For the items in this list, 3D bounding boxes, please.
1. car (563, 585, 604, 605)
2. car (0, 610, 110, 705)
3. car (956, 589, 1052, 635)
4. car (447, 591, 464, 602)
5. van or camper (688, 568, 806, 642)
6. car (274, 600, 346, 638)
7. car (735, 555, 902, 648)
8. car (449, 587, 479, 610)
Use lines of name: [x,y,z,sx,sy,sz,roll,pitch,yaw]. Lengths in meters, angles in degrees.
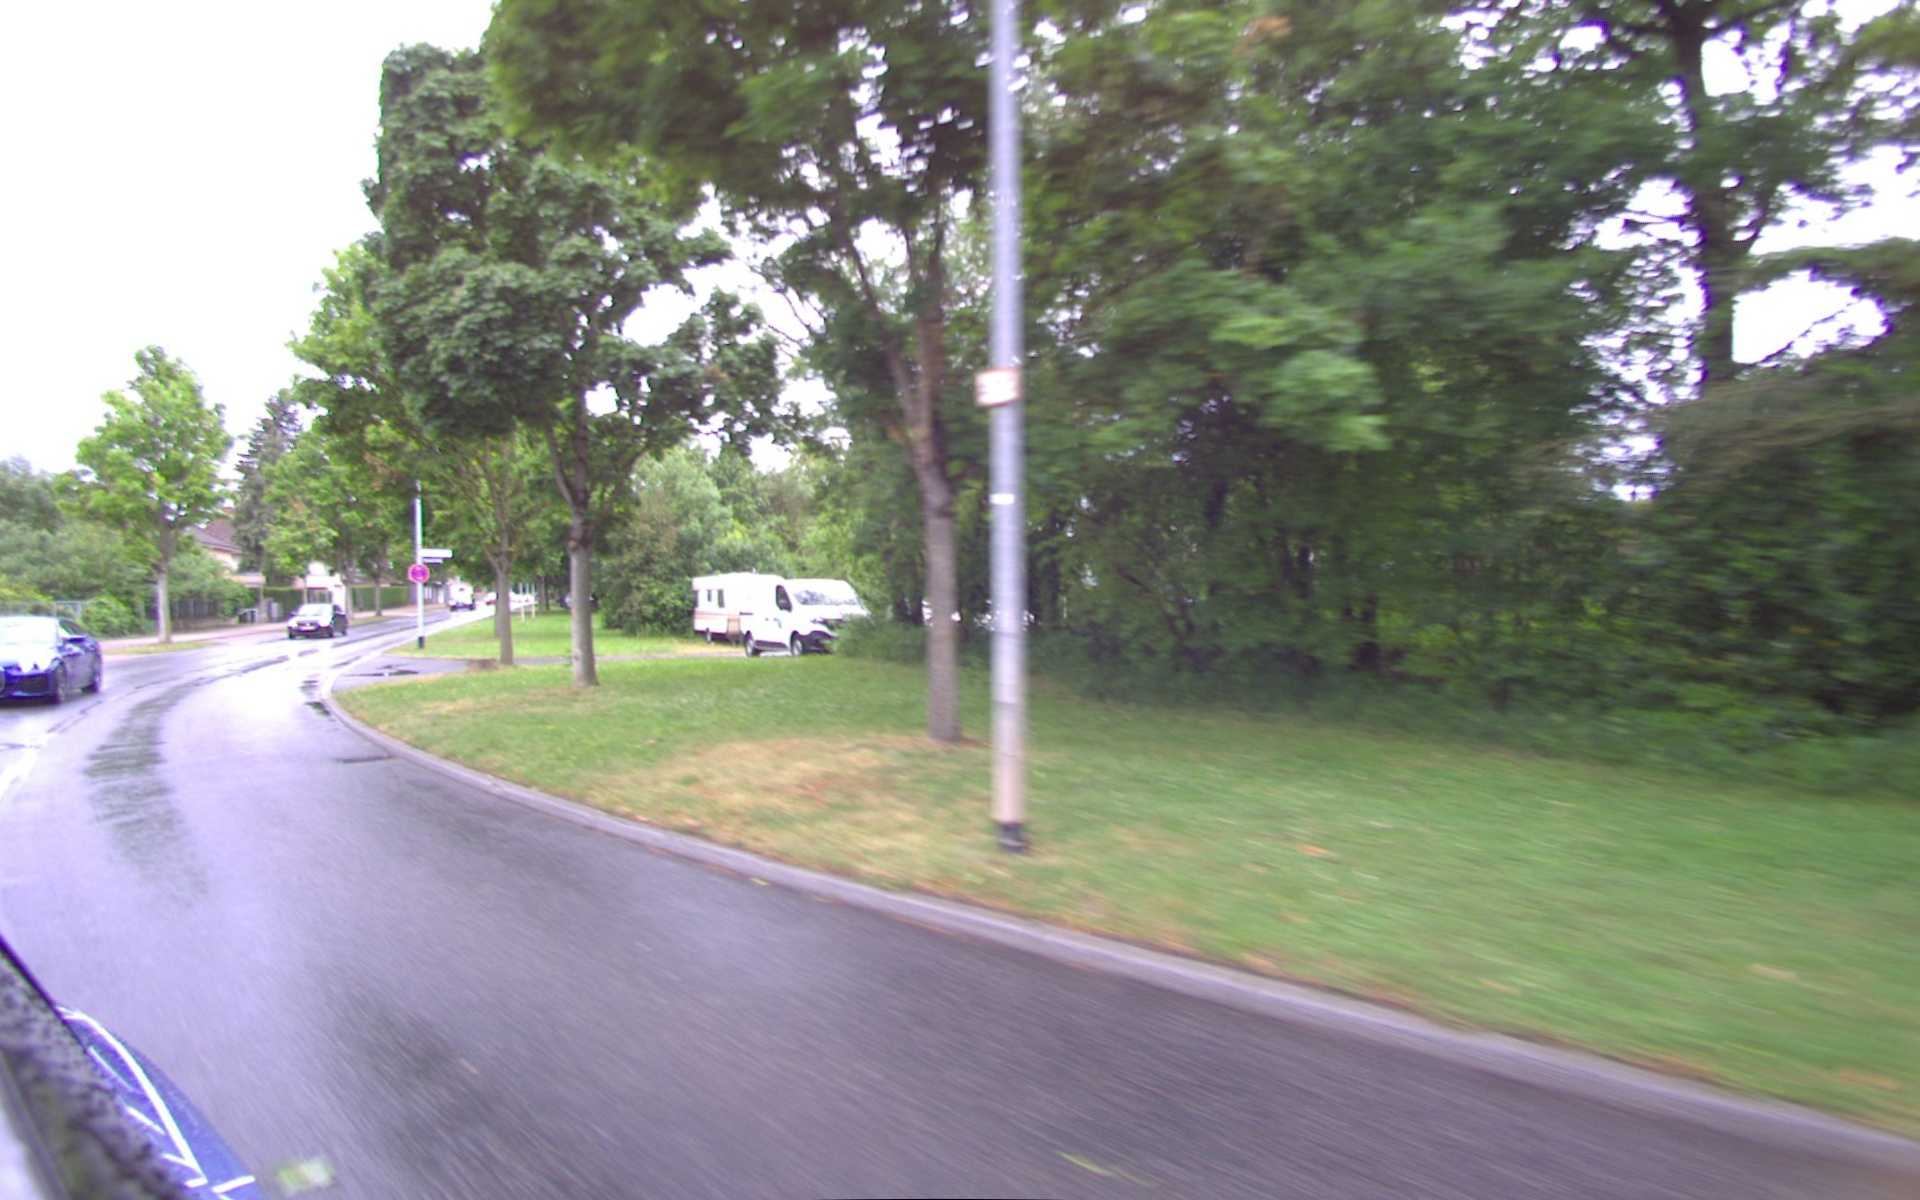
car: [-29.932,-0.368,80.338,1.856,1.441,4.225,-1,-1,-37]
car: [-16.342,0.927,17.555,1.786,1.479,3.987,0,0,-30]
car: [1.637,0.420,39.396,1.827,1.592,4.367,-1,2,-26]
car: [-74.003,-0.568,148.492,1.639,1.432,4.013,-3,2,-19]
van or camper: [-7.702,0.118,35.884,2.351,2.378,6.834,0,1,-27]
car: [-28.668,0.787,44.778,1.897,1.392,4.323,-4,2,-22]
car: [-3.635,0.145,24.949,2.098,2.001,5.490,0,-3,-31]
car: [-45.323,-0.144,92.580,1.966,1.872,4.013,-3,2,-20]
